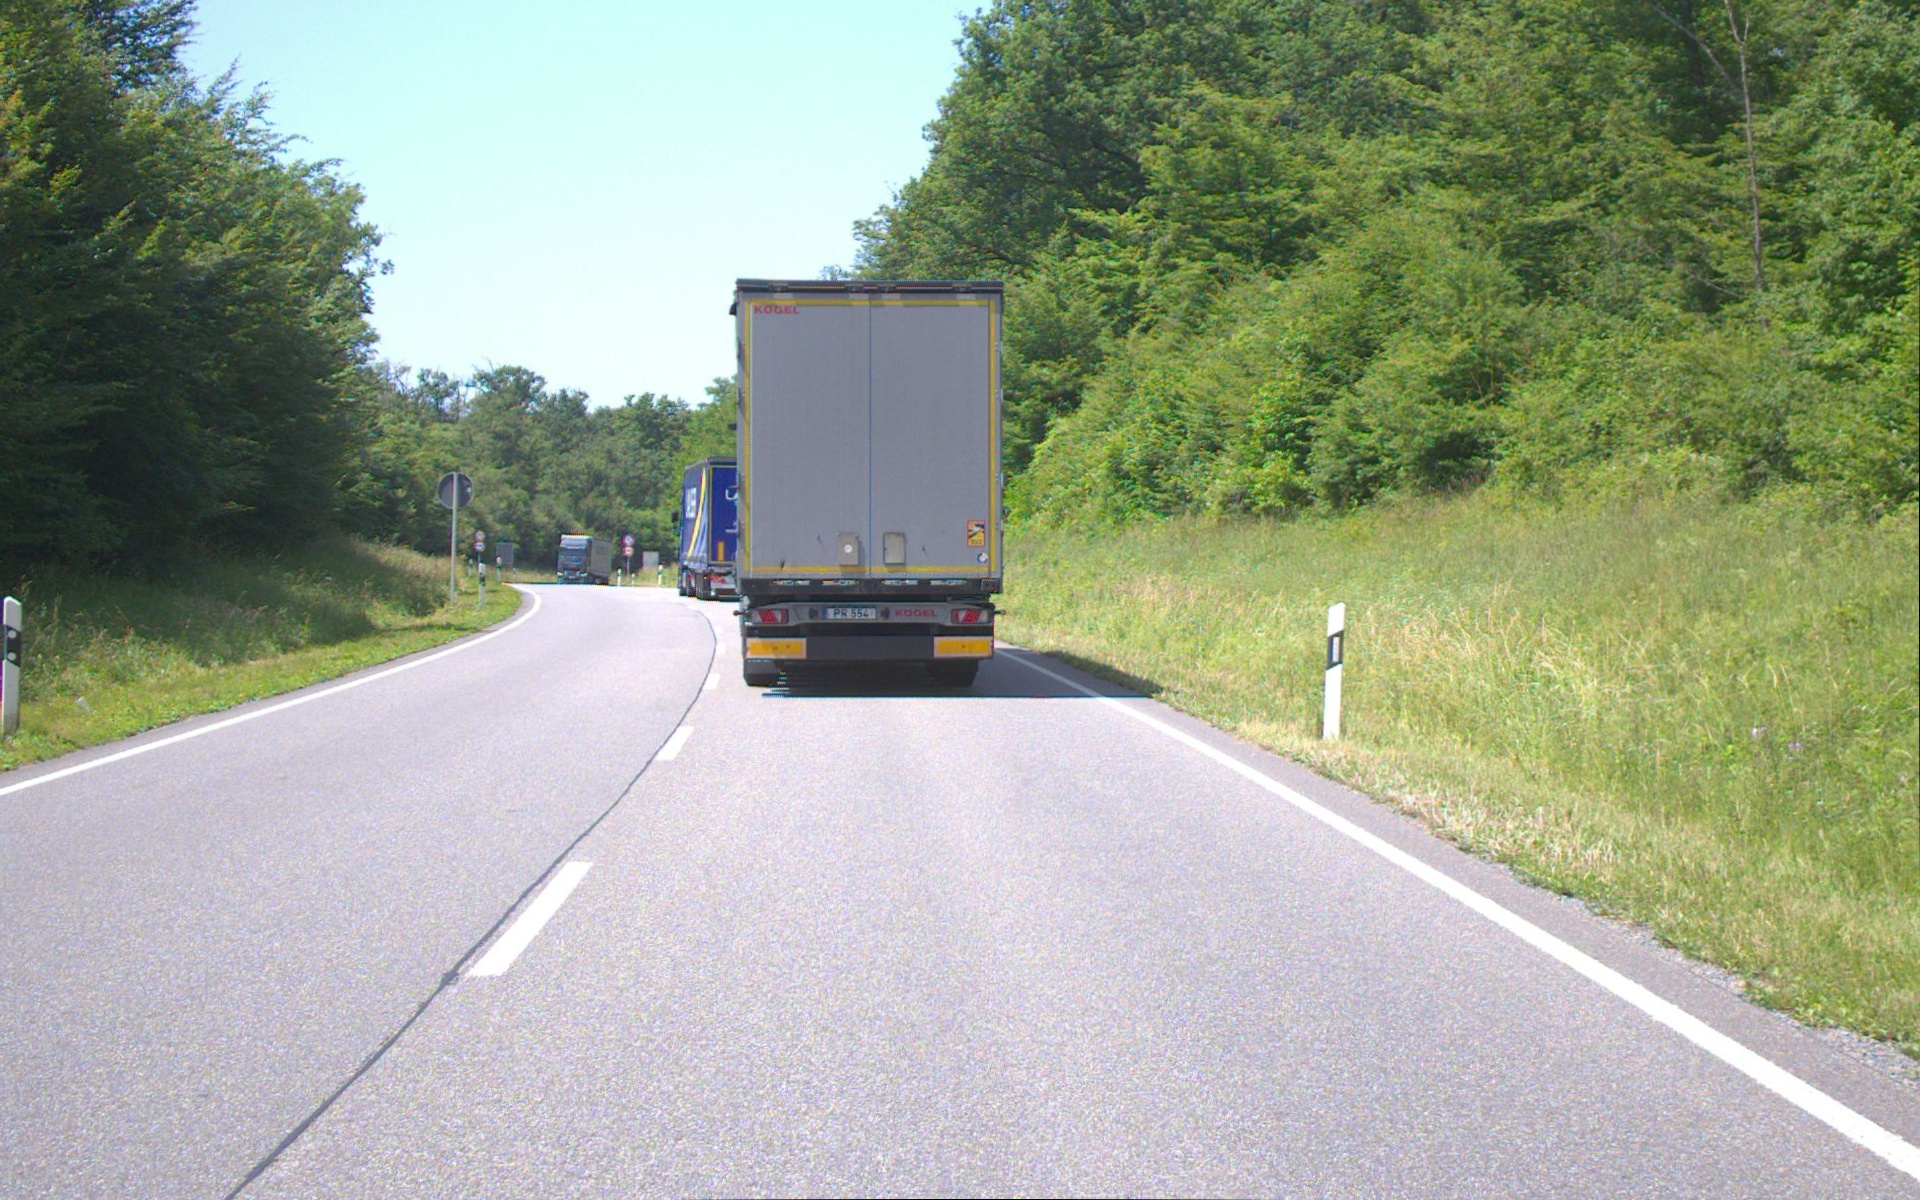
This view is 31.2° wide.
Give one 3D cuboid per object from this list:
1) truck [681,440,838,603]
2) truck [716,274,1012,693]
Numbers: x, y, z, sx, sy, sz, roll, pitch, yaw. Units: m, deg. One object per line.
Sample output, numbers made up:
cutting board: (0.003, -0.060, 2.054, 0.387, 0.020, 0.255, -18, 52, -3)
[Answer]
truck: (-6.117, -2.312, 102.003, 3.792, 4.358, 14.923, 2, 1, -6)
truck: (-1.167, -1.204, 38.743, 2.761, 3.933, 12.199, 1, 1, -2)
